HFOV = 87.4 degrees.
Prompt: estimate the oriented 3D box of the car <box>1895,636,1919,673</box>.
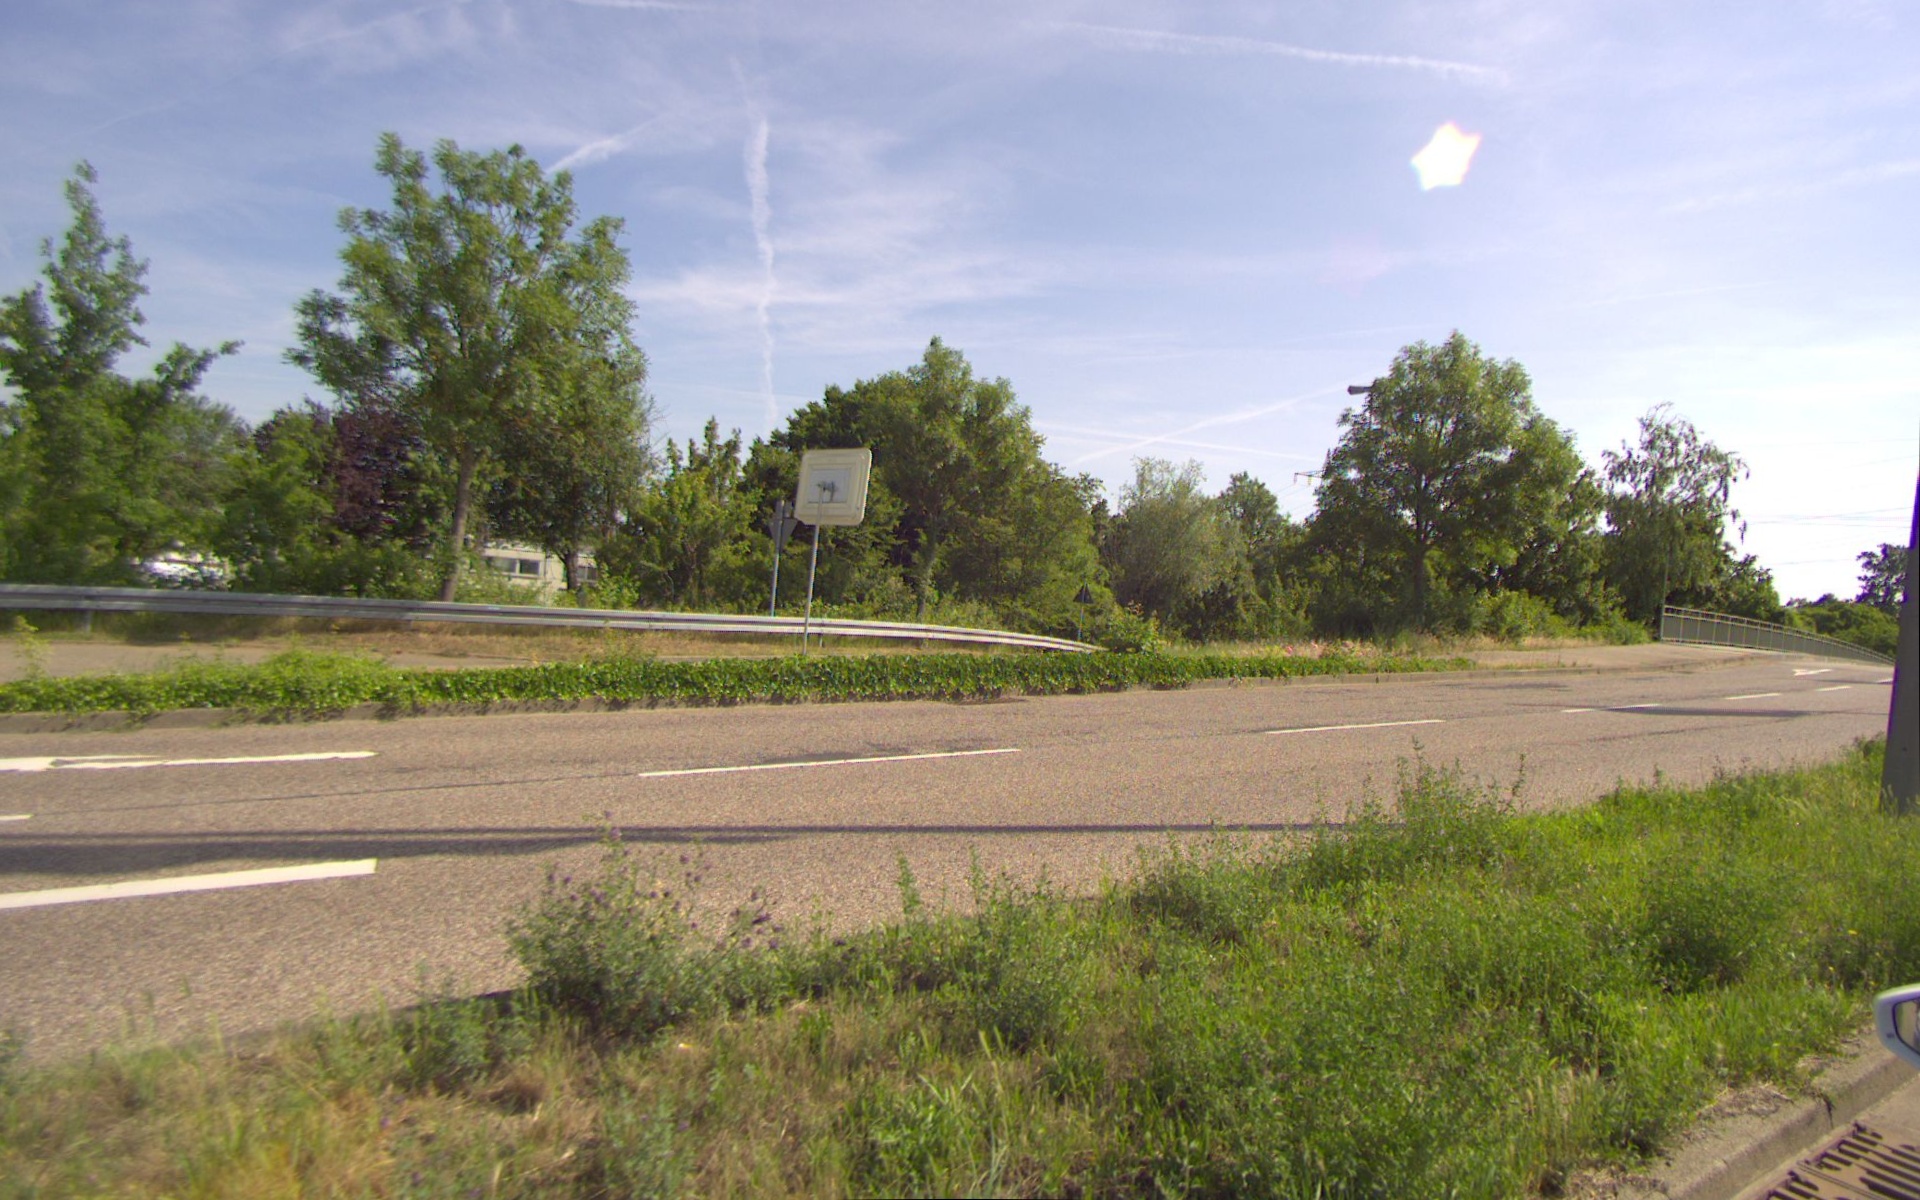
[{"bbox_3d":[42.899,2.439,44.391,3.967,1.571,1.782,3,-1,-40],"label":"car"}]
